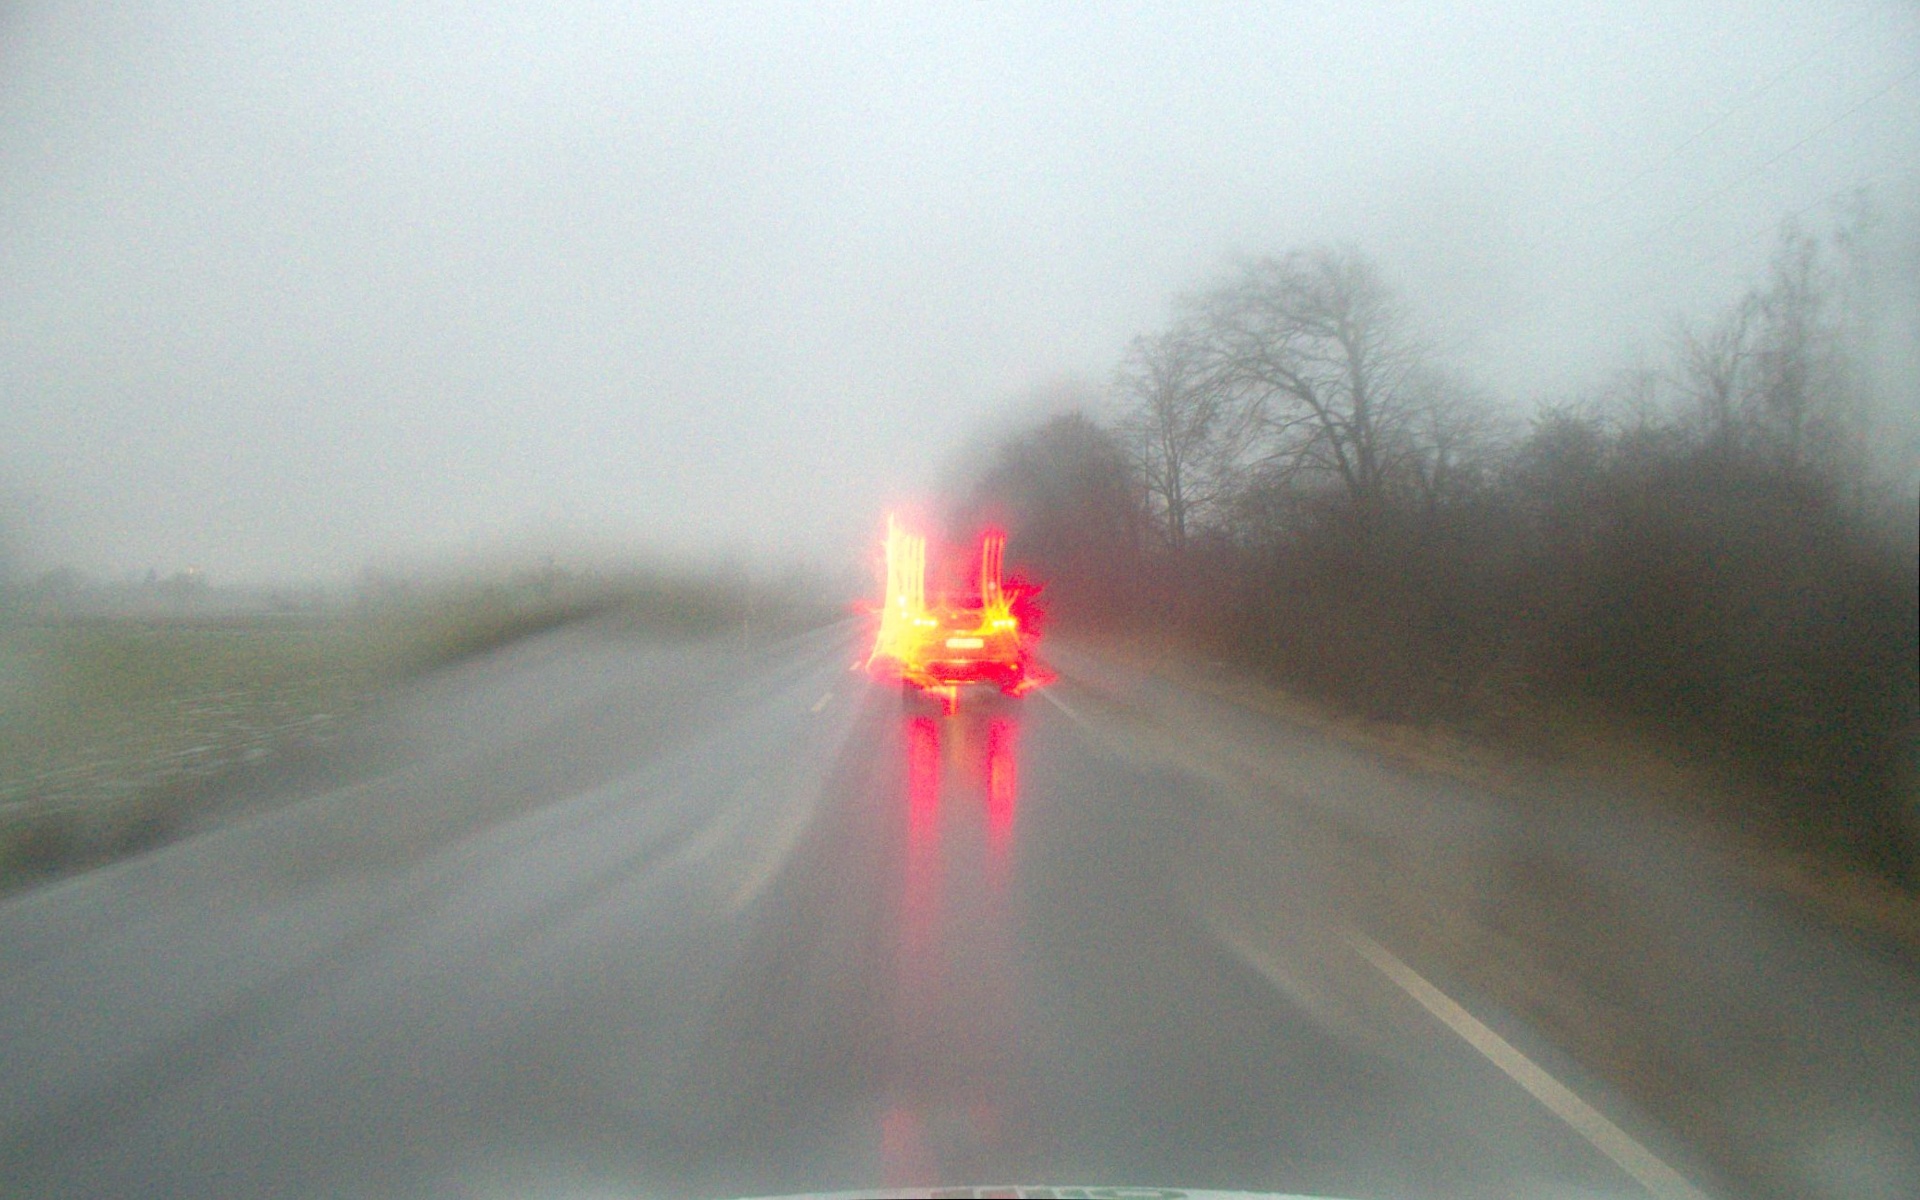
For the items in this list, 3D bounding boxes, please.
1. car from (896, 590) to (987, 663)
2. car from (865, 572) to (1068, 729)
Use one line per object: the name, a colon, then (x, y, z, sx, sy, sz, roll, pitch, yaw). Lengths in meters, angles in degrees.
car: (-0.568, 0.760, 49.869, 2.539, 2.049, 5.803, 1, 0, -1)
car: (0.051, 0.709, 25.587, 2.763, 2.113, 5.803, 1, 0, -1)
